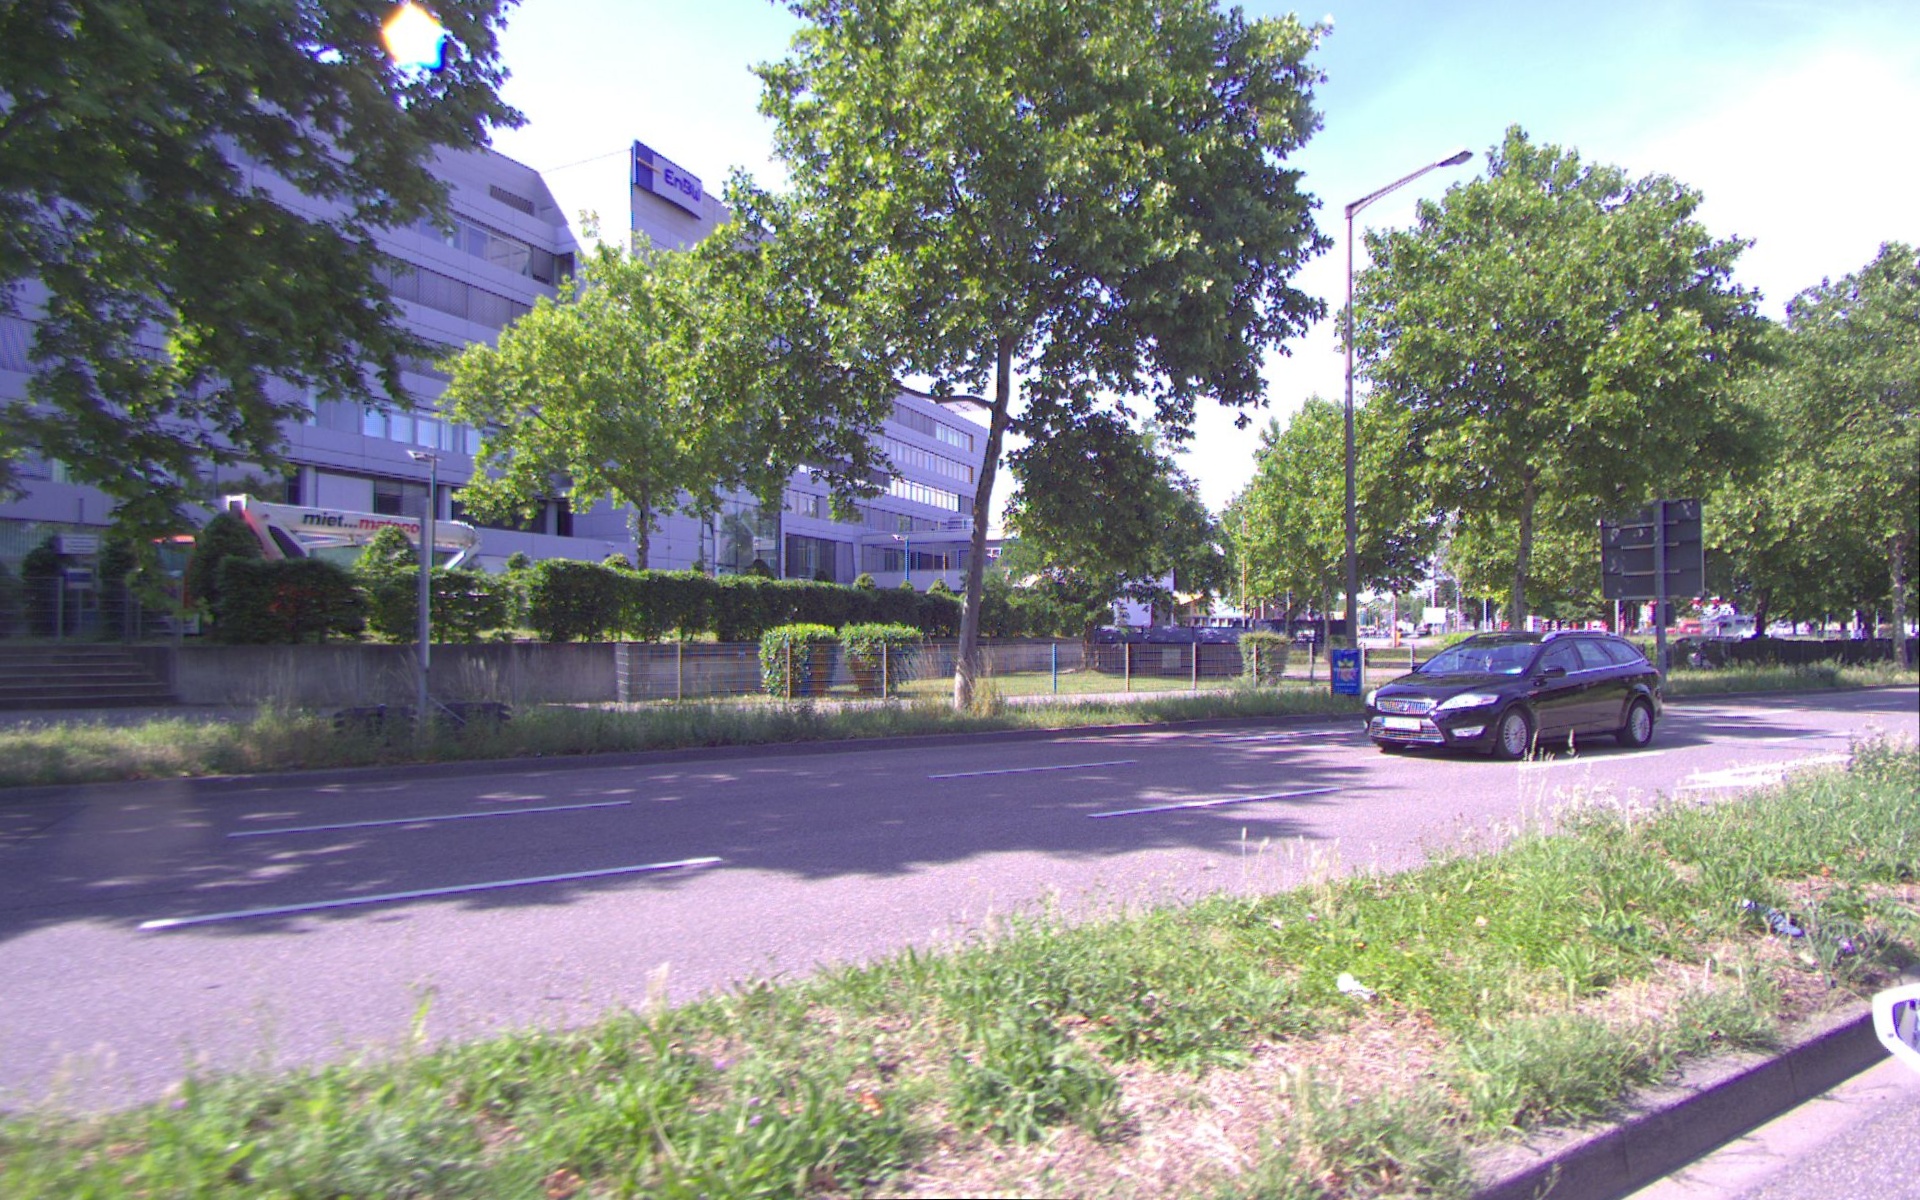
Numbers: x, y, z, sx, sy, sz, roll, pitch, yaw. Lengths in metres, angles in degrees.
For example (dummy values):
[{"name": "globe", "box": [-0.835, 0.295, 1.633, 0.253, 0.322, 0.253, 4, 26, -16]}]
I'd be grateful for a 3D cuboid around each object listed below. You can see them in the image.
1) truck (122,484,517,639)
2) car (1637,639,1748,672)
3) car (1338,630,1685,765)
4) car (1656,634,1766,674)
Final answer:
[{"name": "truck", "box": [-16.488, -0.715, 26.981, 2.622, 3.440, 8.985, 0, -2, 23]}, {"name": "car", "box": [35.575, 2.668, 48.885, 1.751, 1.483, 3.970, 1, -2, -29]}, {"name": "car", "box": [7.312, 1.152, 13.156, 4.933, 1.487, 1.817, 1, -2, -32]}, {"name": "car", "box": [38.030, 2.728, 50.985, 2.128, 1.847, 3.974, 2, -1, -26]}]
